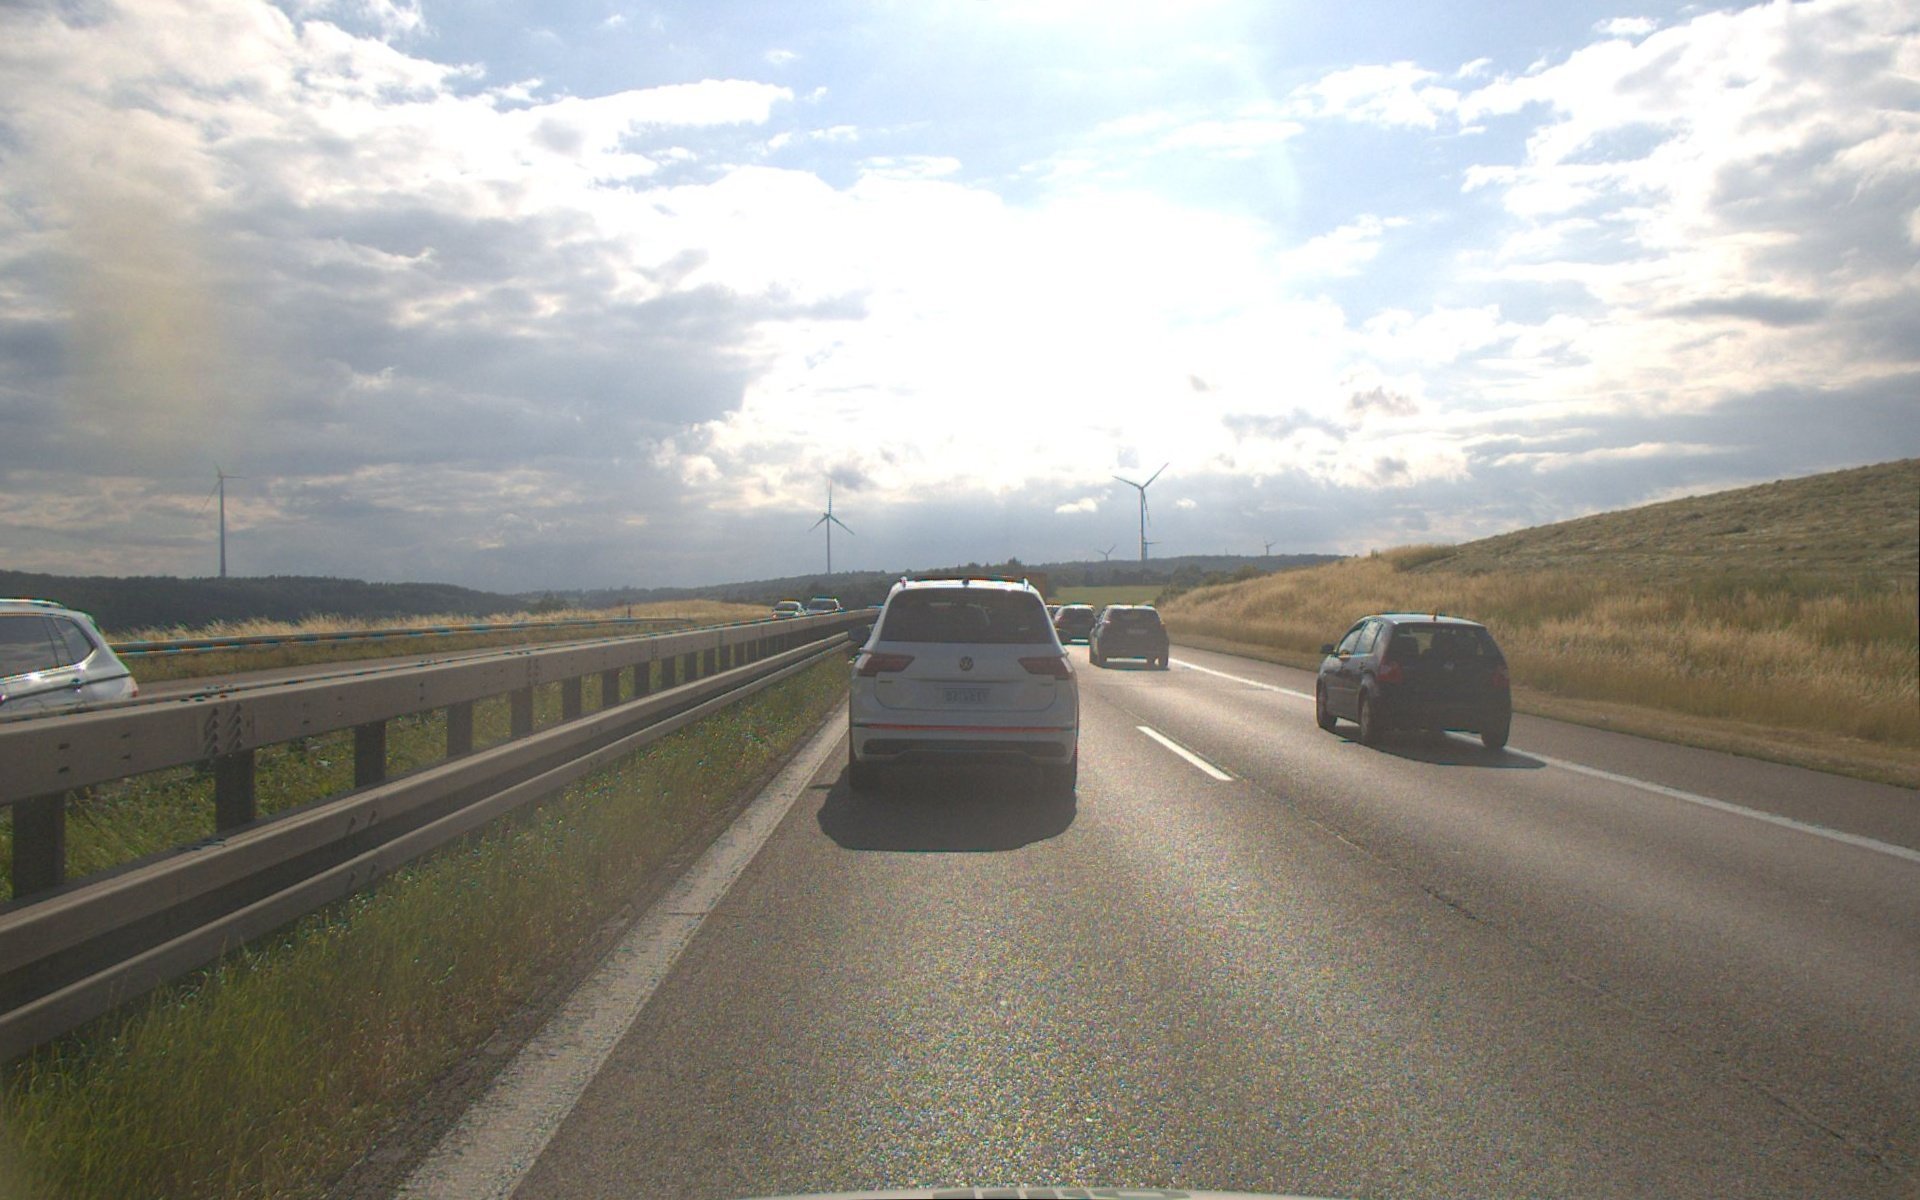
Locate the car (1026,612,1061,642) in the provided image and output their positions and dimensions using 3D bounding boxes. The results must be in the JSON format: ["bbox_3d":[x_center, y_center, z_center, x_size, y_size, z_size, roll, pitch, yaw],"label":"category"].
[{"bbox_3d":[4.476,1.431,89.053,1.669,1.573,3.999,1,-1,-1],"label":"car"}]

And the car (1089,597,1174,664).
[{"bbox_3d":[4.229,0.749,41.276,1.669,1.573,3.999,1,-1,-1],"label":"car"}]

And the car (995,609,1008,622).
[{"bbox_3d":[5.323,2.025,213.328,1.668,1.573,4.001,1,-1,2],"label":"car"}]

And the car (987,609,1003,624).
[{"bbox_3d":[3.898,1.804,183.350,1.668,1.573,4.001,1,-1,3],"label":"car"}]

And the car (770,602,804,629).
[{"bbox_3d":[-10.675,0.961,102.121,1.699,1.616,4.116,1,-1,-1],"label":"car"}]

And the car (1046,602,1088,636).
[{"bbox_3d":[5.079,0.893,78.779,1.669,1.573,3.999,1,-1,-1],"label":"car"}]

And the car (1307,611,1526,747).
[{"bbox_3d":[5.299,0.862,19.630,1.573,1.445,3.672,1,-1,0],"label":"car"}]

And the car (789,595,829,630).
[{"bbox_3d":[-8.051,0.689,88.561,1.786,1.801,4.362,1,-1,-1],"label":"car"}]

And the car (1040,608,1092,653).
[{"bbox_3d":[4.053,1.154,63.786,1.669,1.679,3.999,1,-1,-1],"label":"car"}]

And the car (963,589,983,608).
[{"bbox_3d":[1.097,-0.120,144.438,1.669,1.573,3.999,1,-1,-1],"label":"car"}]

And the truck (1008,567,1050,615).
[{"bbox_3d":[5.476,-0.693,132.243,3.118,3.656,11.132,1,0,1],"label":"truck"}]

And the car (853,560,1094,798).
[{"bbox_3d":[0.080,0.591,14.024,1.734,1.705,3.999,1,-1,-1],"label":"car"}]

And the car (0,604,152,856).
[{"bbox_3d":[-7.075,0.834,10.653,1.714,1.631,4.264,1,-1,-2],"label":"car"}]

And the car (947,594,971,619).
[{"bbox_3d":[-0.085,0.444,114.566,1.669,1.679,3.999,1,-1,-1],"label":"car"}]
